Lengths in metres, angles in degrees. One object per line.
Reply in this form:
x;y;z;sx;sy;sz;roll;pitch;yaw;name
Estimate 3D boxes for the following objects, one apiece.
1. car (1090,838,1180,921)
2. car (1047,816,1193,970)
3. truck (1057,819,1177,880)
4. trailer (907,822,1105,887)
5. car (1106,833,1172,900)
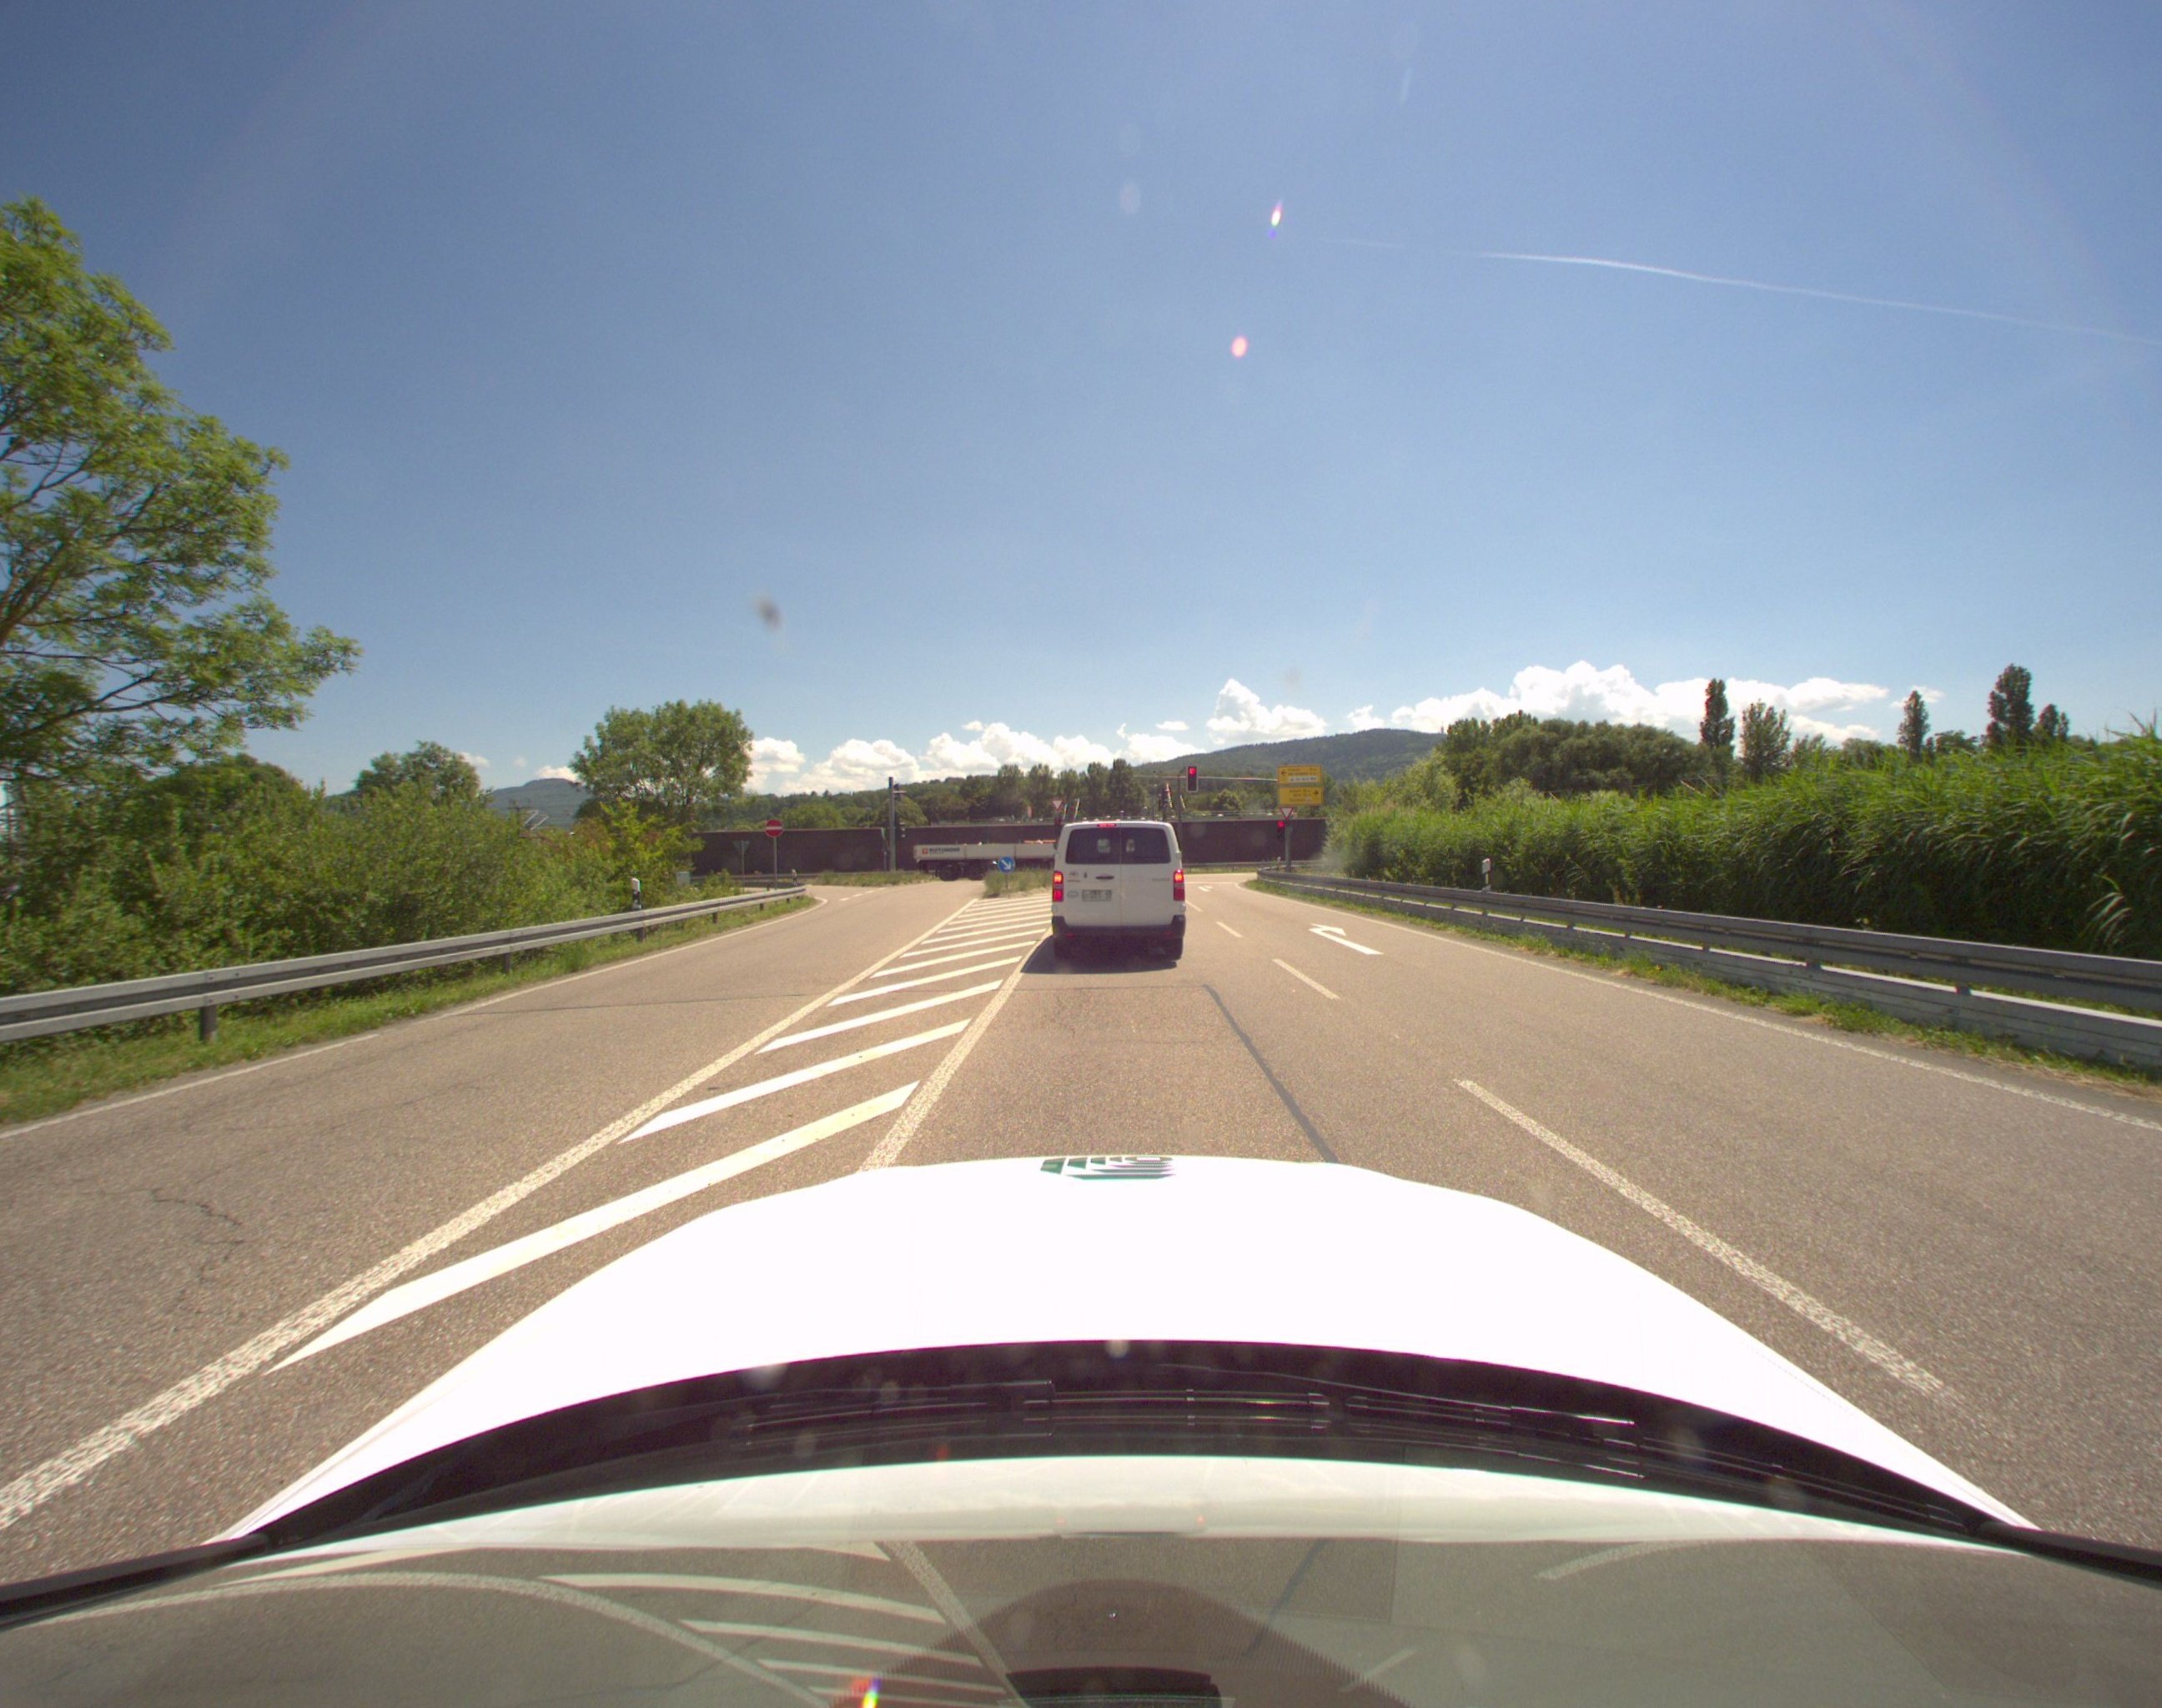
1.307;0.602;20.668;1.986;1.812;4.002;-3;0;2;car
0.566;0.510;12.459;1.863;1.964;4.002;-1;0;2;car
2.283;-0.301;52.182;7.380;3.504;2.233;-3;1;0;truck
-4.674;0.007;52.158;12.280;3.504;2.233;-3;1;0;trailer
1.902;0.408;27.703;1.986;2.013;4.002;-3;0;2;car
